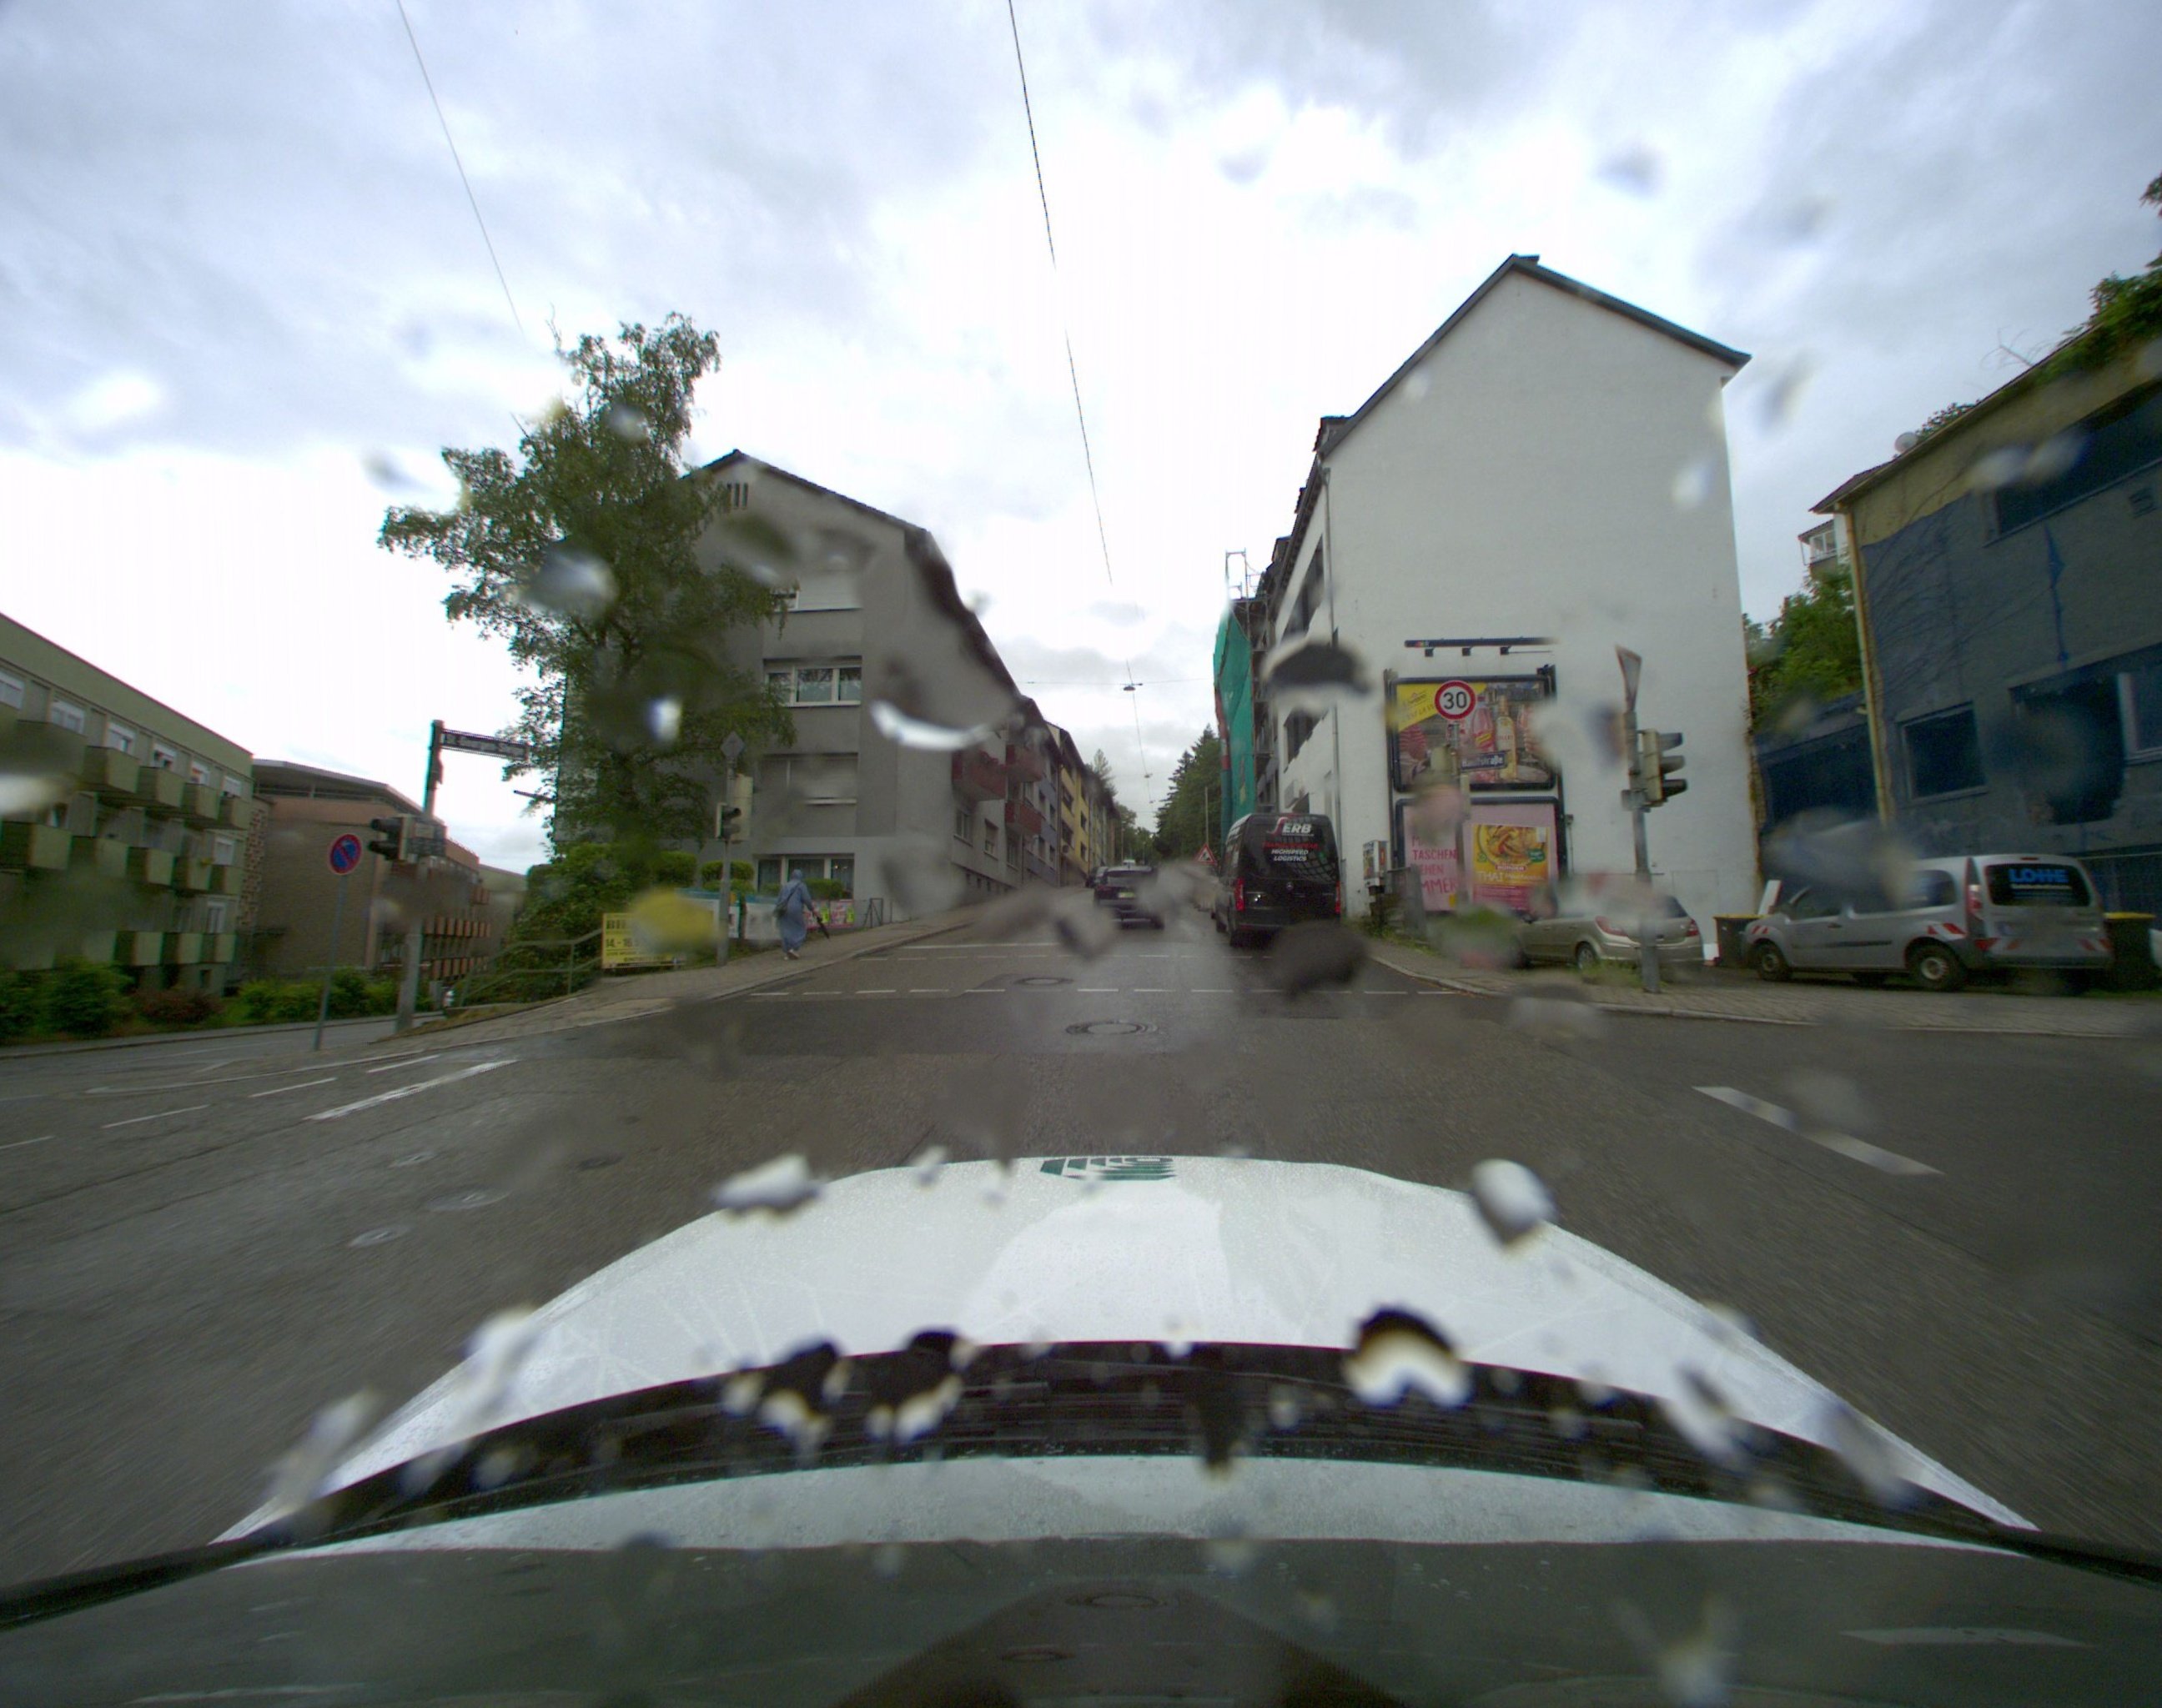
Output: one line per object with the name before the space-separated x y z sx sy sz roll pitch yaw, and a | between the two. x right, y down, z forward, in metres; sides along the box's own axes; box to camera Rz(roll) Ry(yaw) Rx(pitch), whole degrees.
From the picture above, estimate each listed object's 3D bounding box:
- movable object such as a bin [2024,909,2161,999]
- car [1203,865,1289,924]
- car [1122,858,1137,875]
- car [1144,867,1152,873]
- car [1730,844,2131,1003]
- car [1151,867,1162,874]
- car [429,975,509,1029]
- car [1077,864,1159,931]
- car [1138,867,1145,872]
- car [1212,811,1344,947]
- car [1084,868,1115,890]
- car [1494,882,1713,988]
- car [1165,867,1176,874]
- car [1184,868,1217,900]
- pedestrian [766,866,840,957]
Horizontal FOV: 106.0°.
movable object such as a bin | 14.040 1.341 11.151 0.936 1.141 1.124 1 -3 6
car | 4.675 1.115 23.626 1.984 1.512 4.343 1 -2 5
car | 7.230 1.845 121.142 1.981 2.475 5.791 -1 -1 4
car | 16.052 3.858 195.452 2.065 1.559 4.004 0 -1 4
car | 12.100 0.953 12.122 1.720 1.913 4.245 1 -3 5
car | 15.257 3.327 164.808 2.065 1.559 4.004 0 -1 4
car | -27.940 6.716 37.334 2.206 1.650 4.402 0 -1 -27
car | 1.088 1.086 21.875 1.984 1.559 4.006 1 0 5
car | 18.466 4.648 249.172 2.065 1.559 4.004 0 -1 4
car | 4.032 0.598 17.643 1.984 2.414 5.843 1 -3 5
car | 1.537 1.960 65.656 1.982 1.650 4.451 -1 -1 8
car | 9.054 1.312 14.531 1.555 1.484 4.004 1 0 4
car | 19.019 3.503 173.991 2.066 1.559 4.002 0 -1 2
car | 6.987 1.718 48.028 1.632 1.762 4.005 1 0 4
pedestrian | -4.917 0.985 14.486 0.866 1.541 1.088 1 -1 2
